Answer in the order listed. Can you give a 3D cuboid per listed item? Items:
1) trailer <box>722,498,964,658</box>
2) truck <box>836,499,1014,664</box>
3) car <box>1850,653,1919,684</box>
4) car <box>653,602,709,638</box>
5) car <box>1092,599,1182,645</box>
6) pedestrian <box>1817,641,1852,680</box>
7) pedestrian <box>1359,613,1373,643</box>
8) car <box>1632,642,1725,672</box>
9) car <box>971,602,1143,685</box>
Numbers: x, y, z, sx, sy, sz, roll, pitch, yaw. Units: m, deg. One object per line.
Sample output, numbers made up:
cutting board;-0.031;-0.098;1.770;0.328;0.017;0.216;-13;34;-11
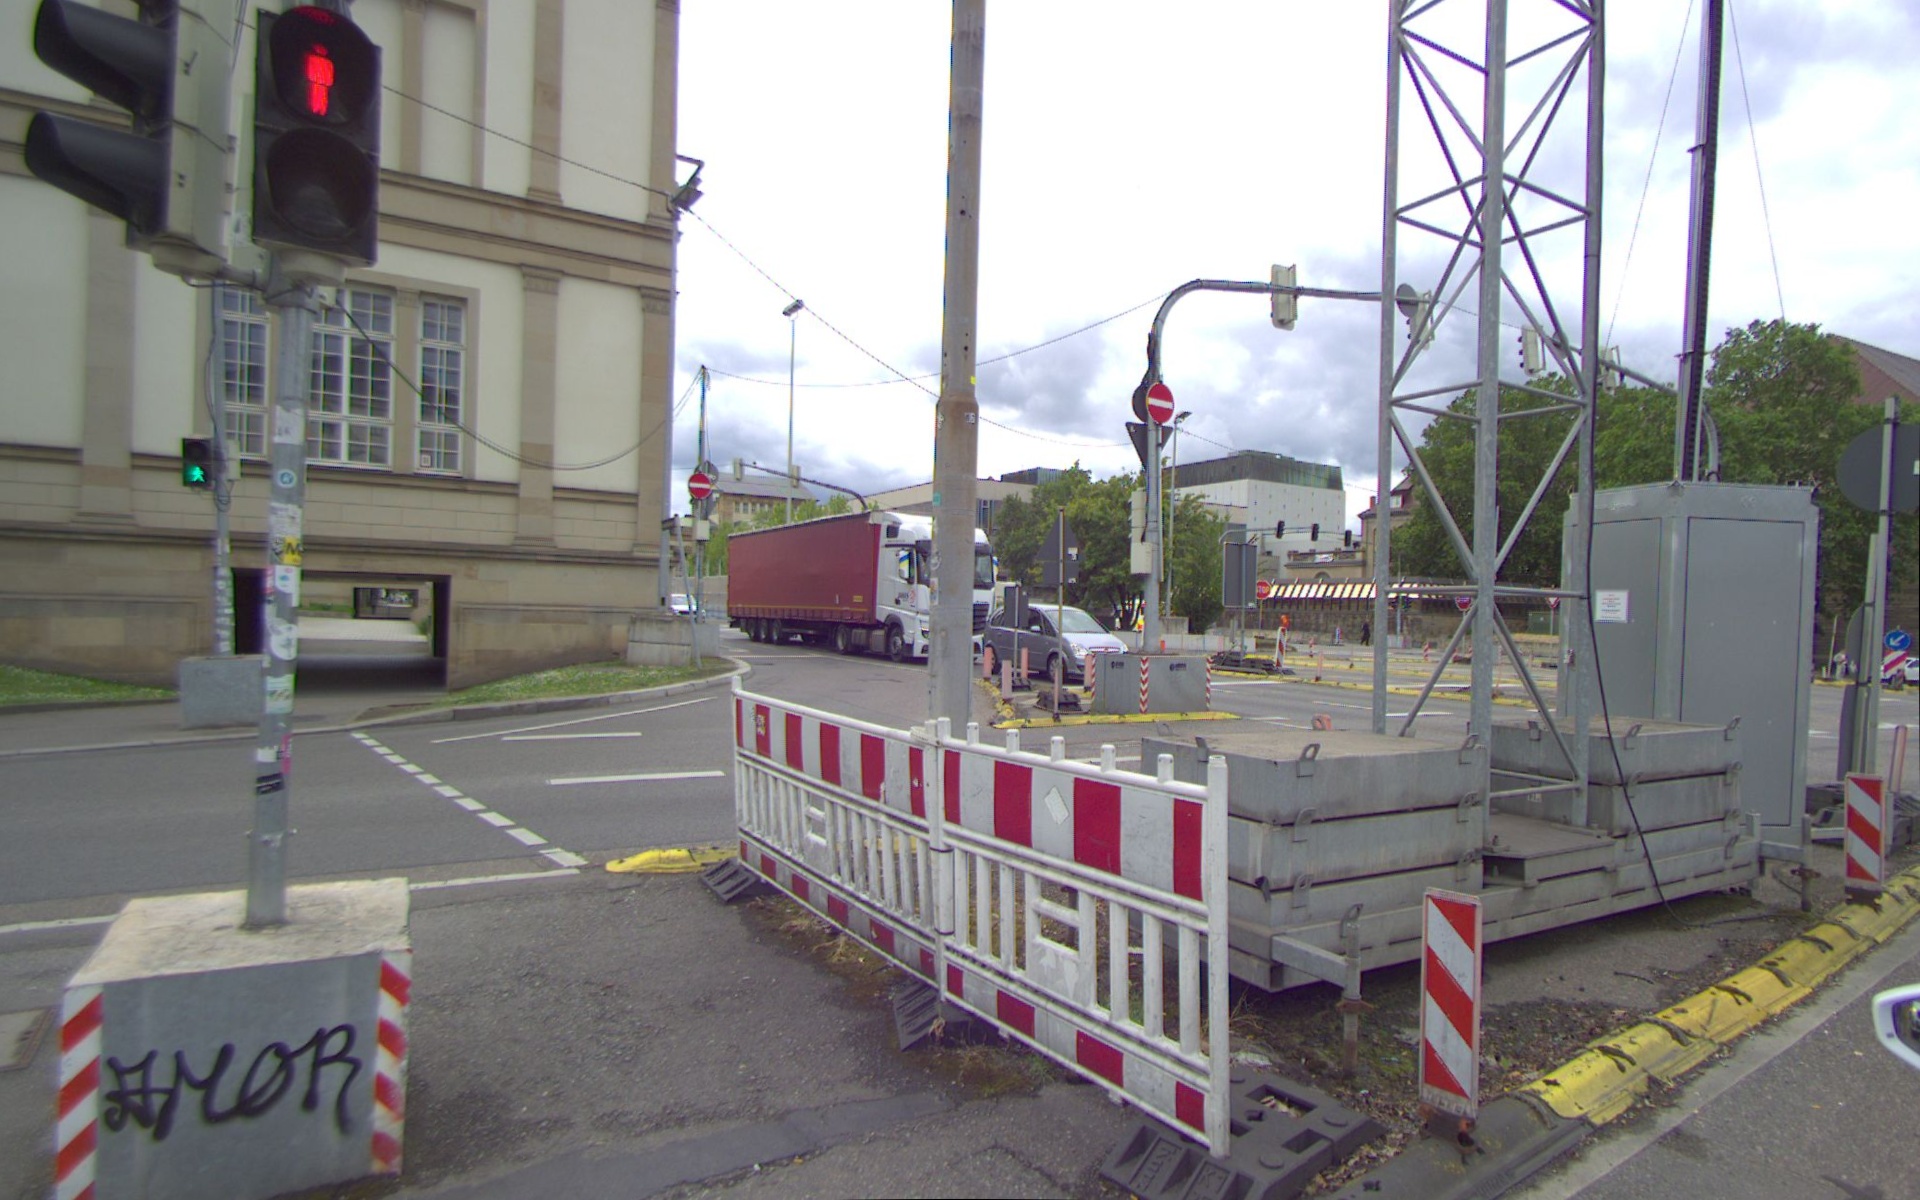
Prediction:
trailer;-4.588;-0.529;33.991;2.913;4.337;13.678;2;-1;-30
truck;-1.085;-0.403;27.899;2.912;4.117;4.851;2;-1;-31
car;48.154;3.520;51.544;3.612;1.416;1.681;2;-1;-4
car;-14.001;0.984;50.256;1.808;1.646;4.037;2;-1;-28
car;12.611;1.546;72.237;2.347;3.092;6.696;2;-1;-34
pedestrian;47.651;3.277;54.754;1.161;2.040;1.185;1;-1;26
pedestrian;27.946;1.910;69.081;0.597;2.040;0.641;1;0;-31
car;37.552;2.970;52.593;3.610;1.416;1.682;1;-1;19
car;2.013;0.903;22.040;1.808;1.646;4.037;2;-1;-28
